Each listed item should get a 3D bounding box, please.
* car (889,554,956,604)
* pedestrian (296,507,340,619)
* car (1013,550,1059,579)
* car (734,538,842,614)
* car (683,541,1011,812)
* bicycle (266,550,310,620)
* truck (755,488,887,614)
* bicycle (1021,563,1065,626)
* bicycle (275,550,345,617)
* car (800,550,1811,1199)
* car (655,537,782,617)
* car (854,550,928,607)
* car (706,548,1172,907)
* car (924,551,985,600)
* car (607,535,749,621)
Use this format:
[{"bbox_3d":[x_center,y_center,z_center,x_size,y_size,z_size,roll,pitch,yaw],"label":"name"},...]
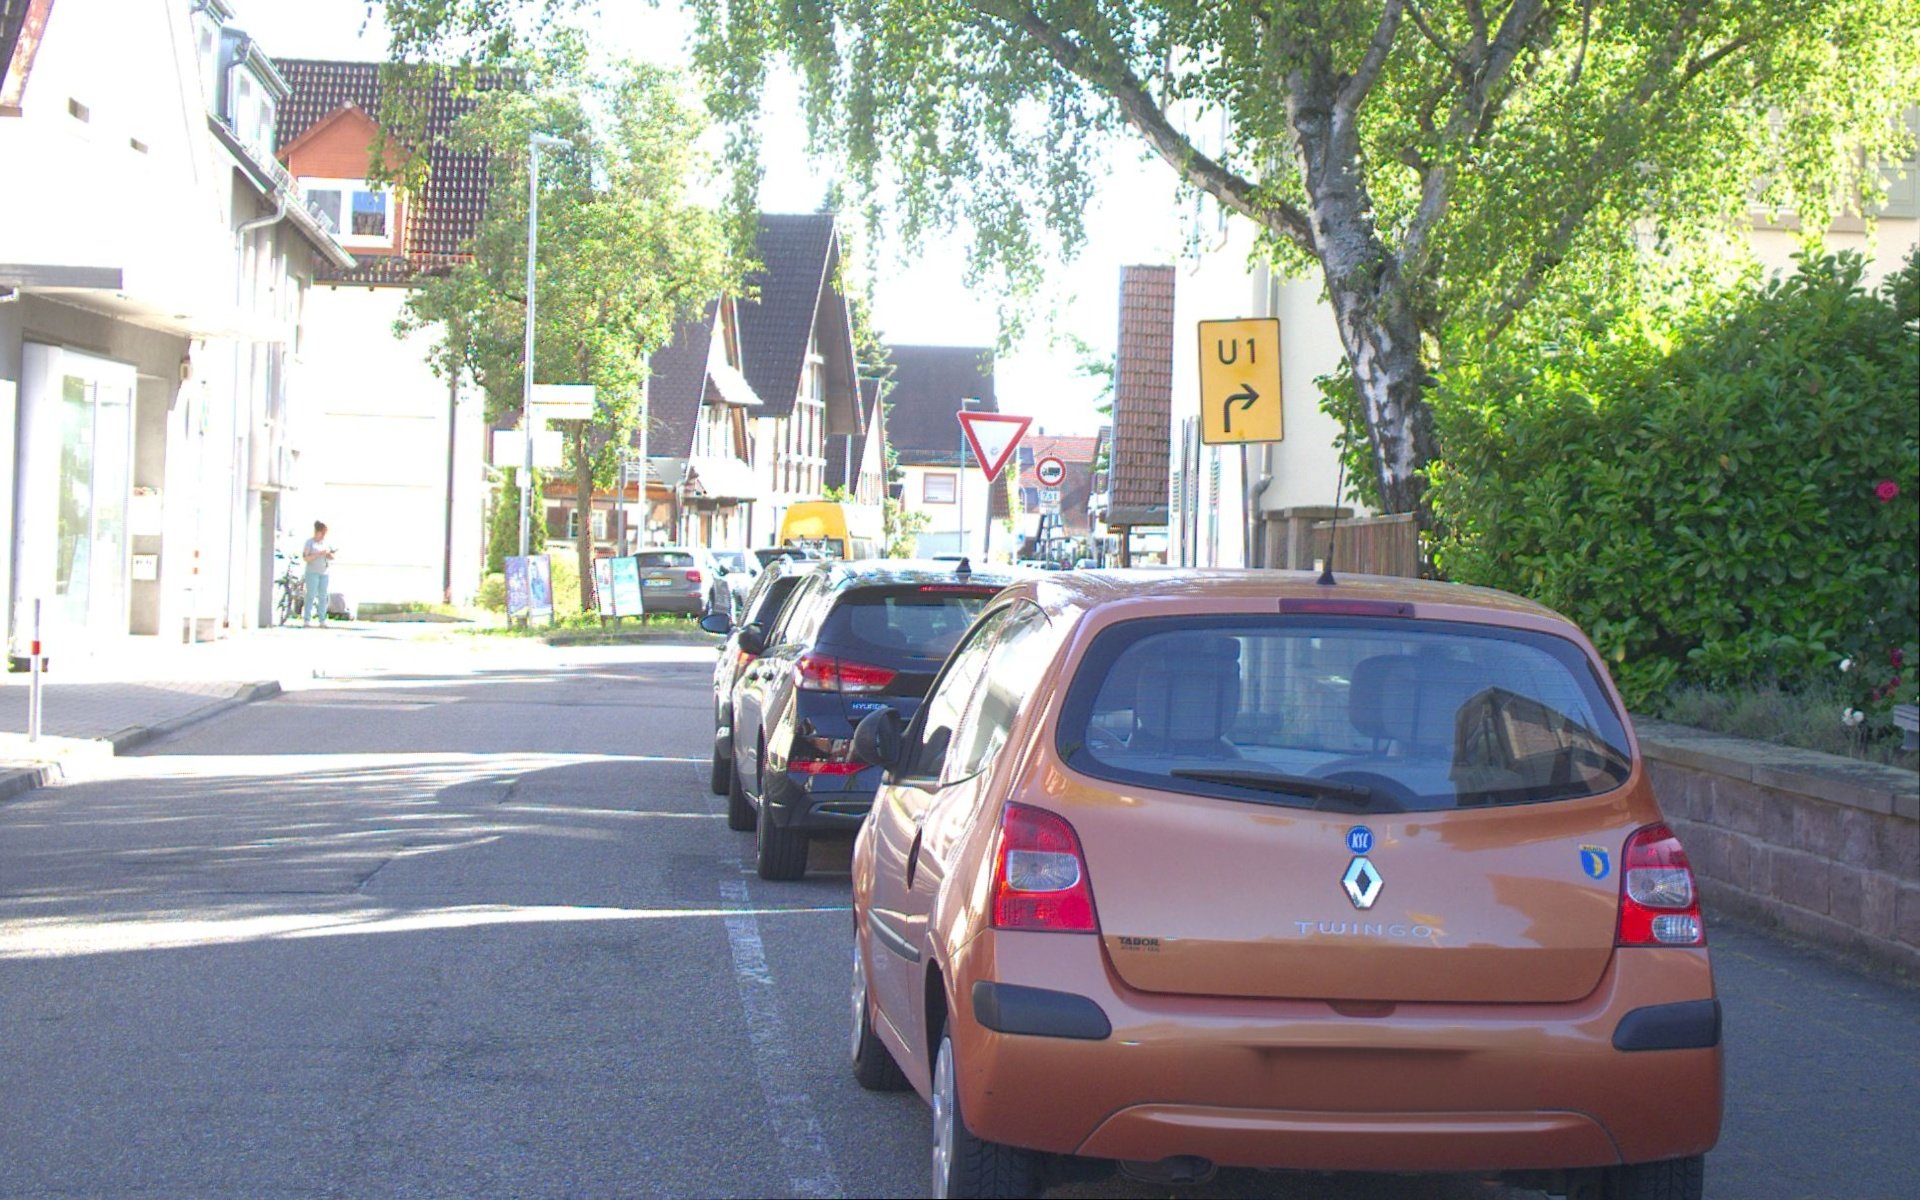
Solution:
[{"bbox_3d":[-1.044,-0.597,96.920,1.588,1.331,3.614,2,1,3],"label":"car"},{"bbox_3d":[-9.821,-0.560,52.627,0.483,1.687,0.557,2,-1,1],"label":"pedestrian"},{"bbox_3d":[4.392,-2.059,198.176,1.972,1.577,3.996,2,1,-8],"label":"car"},{"bbox_3d":[-3.867,-0.539,77.867,1.807,1.616,3.880,2,0,6],"label":"car"},{"bbox_3d":[-0.729,0.399,21.628,1.807,1.431,4.286,2,1,-2],"label":"car"},{"bbox_3d":[-10.245,-0.225,52.452,0.423,1.049,1.381,2,0,-2],"label":"bicycle"},{"bbox_3d":[-3.318,-1.157,83.313,2.268,2.859,5.781,2,0,6],"label":"truck"},{"bbox_3d":[1.593,-0.109,65.926,0.433,1.172,1.827,2,1,14],"label":"bicycle"},{"bbox_3d":[-10.553,-0.251,55.859,0.578,1.049,2.035,1,0,4],"label":"bicycle"},{"bbox_3d":[0.577,0.672,8.500,1.648,1.473,3.934,2,1,-6],"label":"car"},{"bbox_3d":[-4.807,-0.447,68.983,1.807,1.500,4.106,2,0,6],"label":"car"},{"bbox_3d":[-1.832,-0.587,92.338,1.645,1.428,3.614,2,1,3],"label":"car"},{"bbox_3d":[-0.243,0.523,16.921,1.807,1.431,4.287,2,1,-6],"label":"car"},{"bbox_3d":[-0.150,-0.756,105.479,1.588,1.438,3.614,2,1,3],"label":"car"},{"bbox_3d":[-5.259,-0.406,64.615,1.868,1.500,4.106,2,0,6],"label":"car"}]
